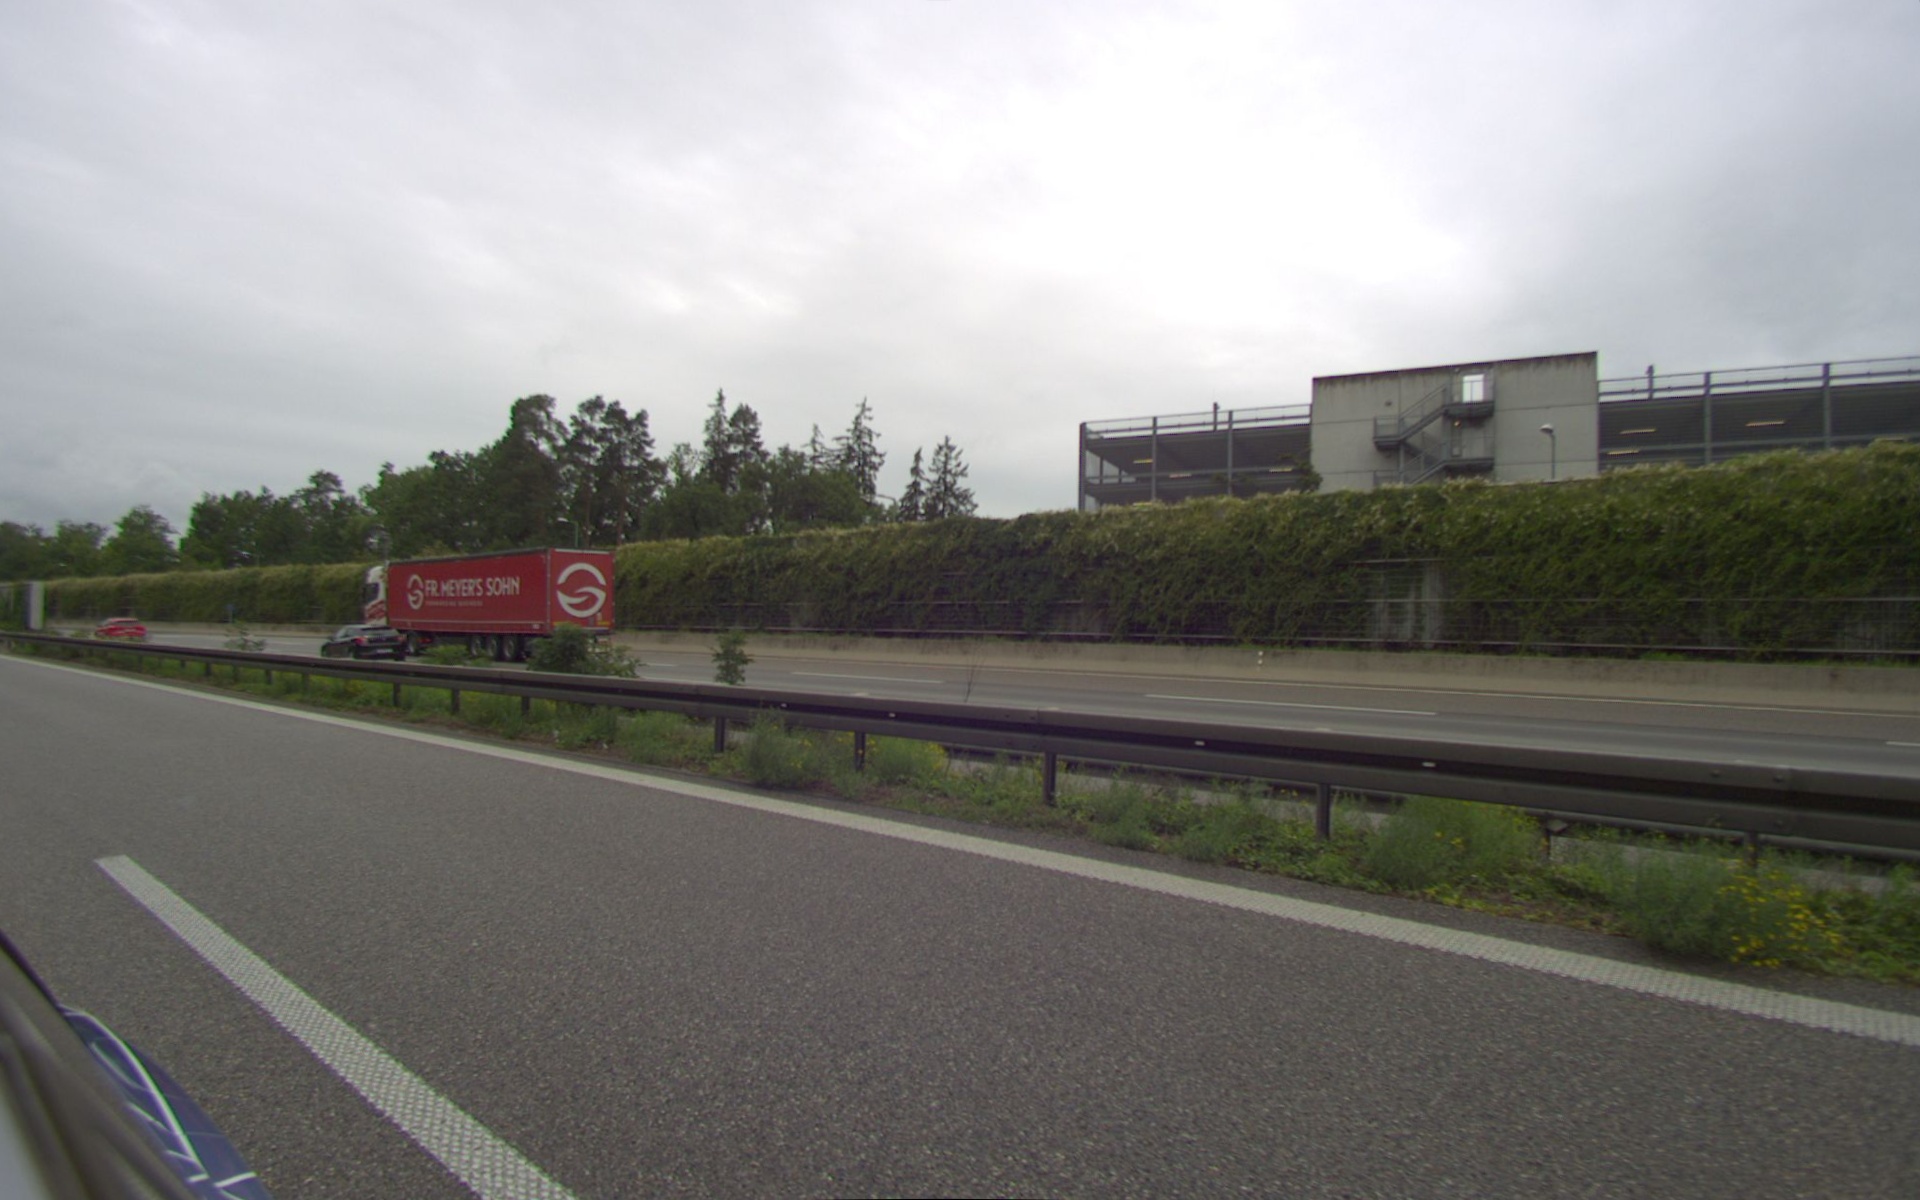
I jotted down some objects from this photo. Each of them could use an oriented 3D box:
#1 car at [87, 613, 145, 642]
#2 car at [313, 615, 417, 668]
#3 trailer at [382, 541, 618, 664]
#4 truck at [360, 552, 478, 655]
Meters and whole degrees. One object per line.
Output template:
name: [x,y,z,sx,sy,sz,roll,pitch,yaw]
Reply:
car: [-50.705,1.623,60.782,4.713,1.581,1.754,0,-3,39]
car: [-21.377,1.436,36.325,3.996,1.752,1.974,-1,-1,40]
trailer: [-18.374,0.177,39.599,13.675,4.159,2.717,-1,-1,40]
truck: [-23.520,0.197,43.901,5.914,4.159,2.640,-1,-2,42]
